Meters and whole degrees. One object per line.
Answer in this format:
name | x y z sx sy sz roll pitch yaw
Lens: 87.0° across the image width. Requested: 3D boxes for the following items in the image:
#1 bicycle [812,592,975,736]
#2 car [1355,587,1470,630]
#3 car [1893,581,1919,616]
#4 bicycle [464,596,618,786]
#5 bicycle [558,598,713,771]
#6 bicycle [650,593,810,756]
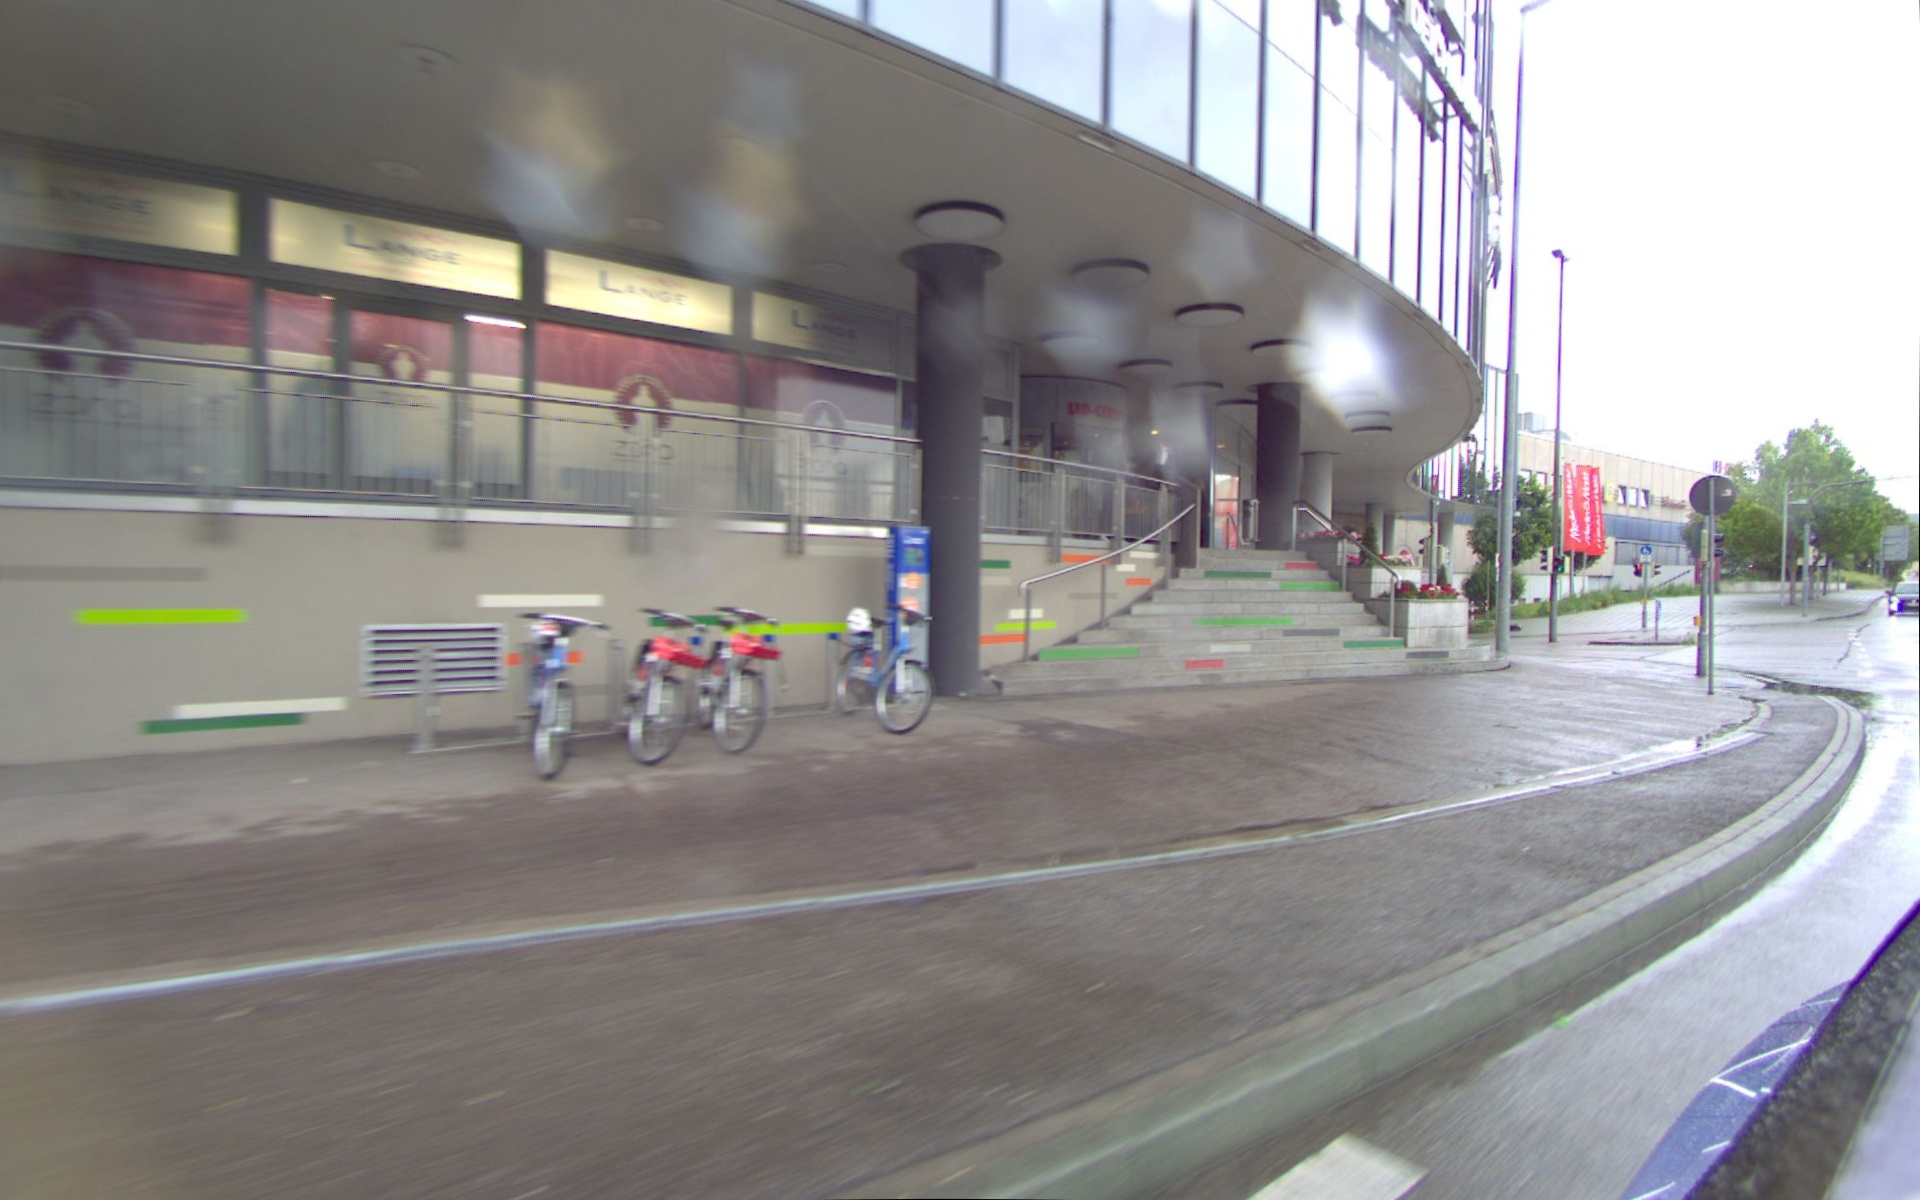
bicycle | -0.672 0.533 9.460 0.681 1.124 1.837 -1 3 -34
car | 19.626 0.368 44.004 1.965 1.781 4.107 0 0 -41
car | 43.706 -0.079 45.761 3.932 1.545 1.898 -1 1 -43
bicycle | -3.113 0.581 7.421 0.681 1.124 1.817 0 3 -34
bicycle | -2.593 0.584 7.950 0.672 1.098 1.808 0 3 -34
bicycle | -1.968 0.548 8.454 0.681 1.124 1.817 0 3 -34
